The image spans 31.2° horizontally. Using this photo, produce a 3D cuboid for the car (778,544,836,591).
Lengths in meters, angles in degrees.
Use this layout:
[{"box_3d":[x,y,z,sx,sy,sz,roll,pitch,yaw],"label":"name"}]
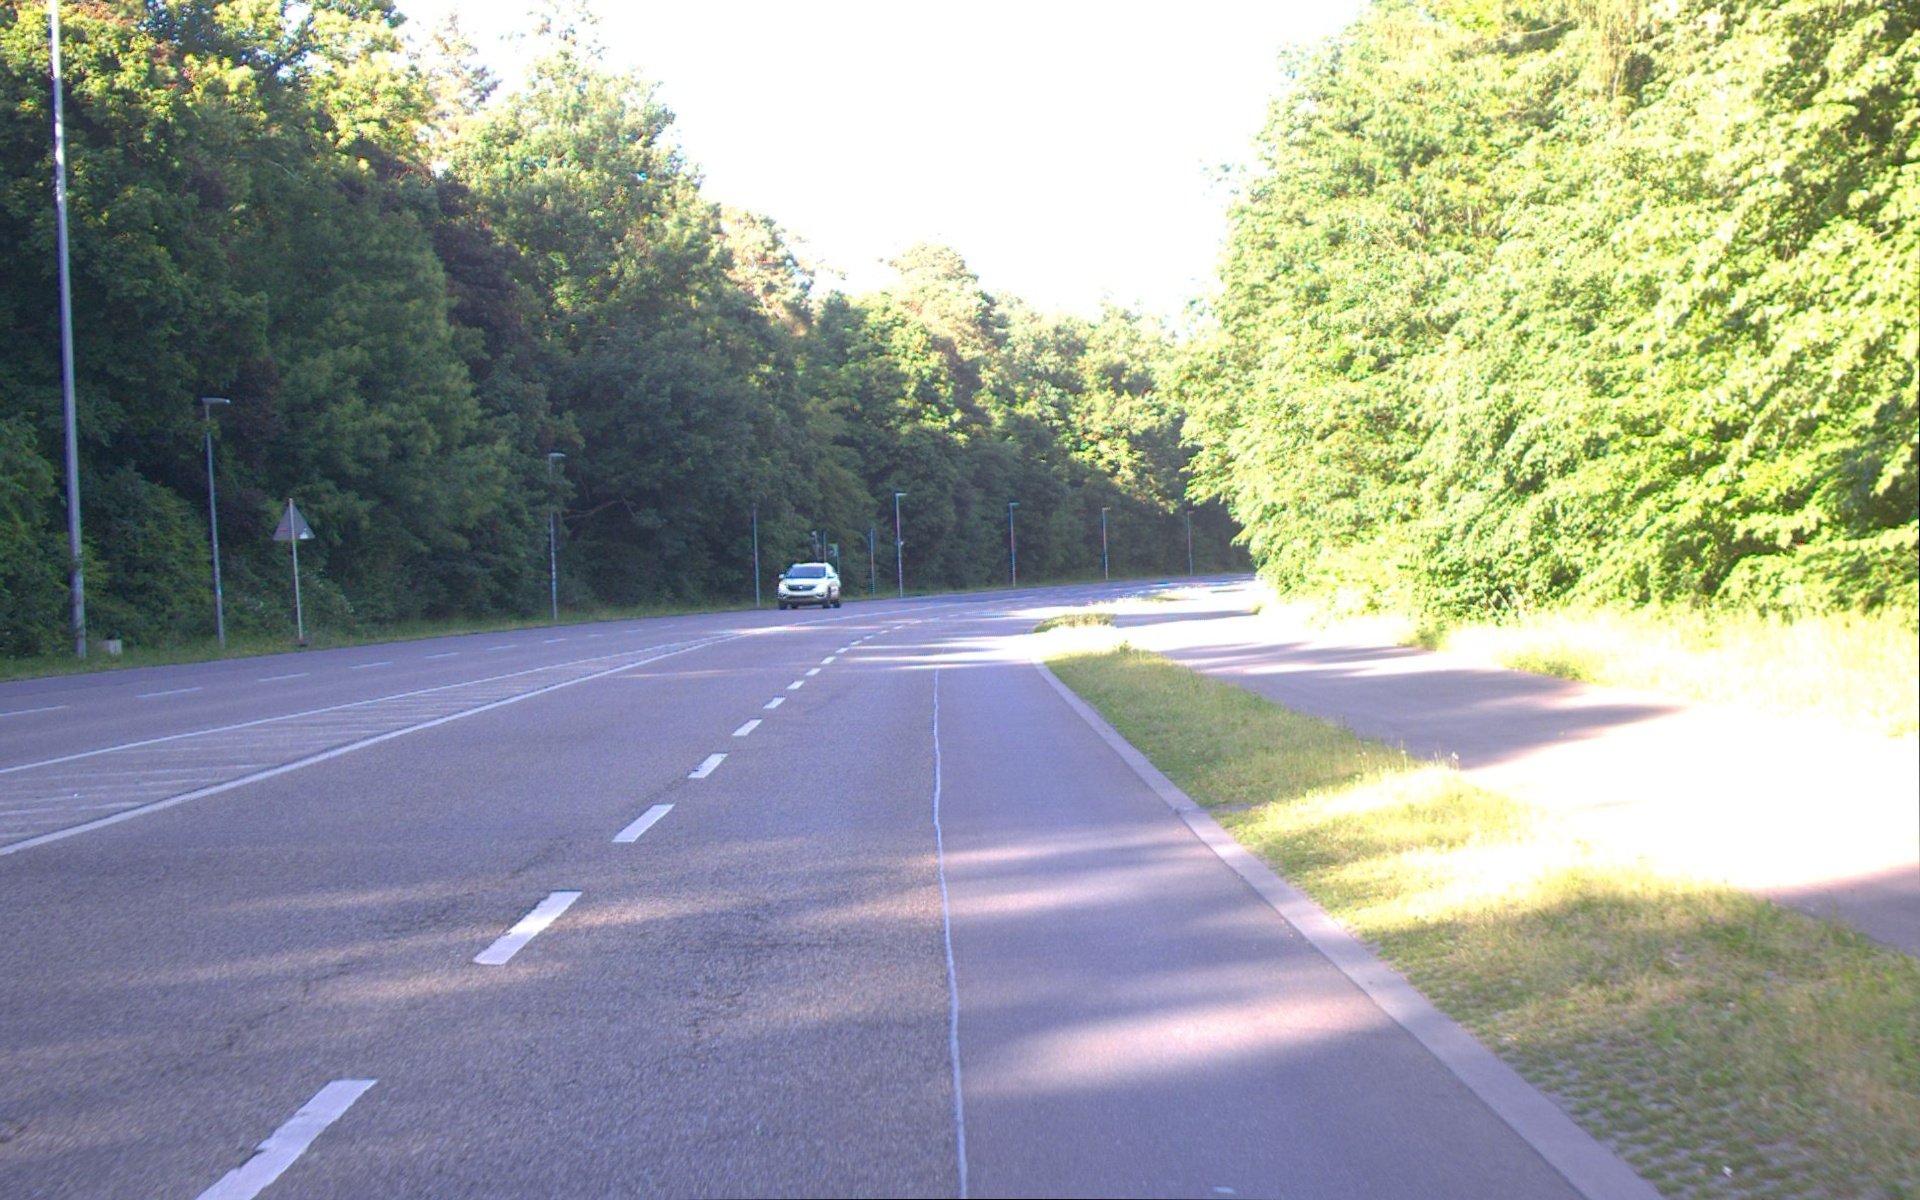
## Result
[{"box_3d":[-5.540,-1.207,125.250,1.908,1.658,4.734,-1,1,0],"label":"car"}]
